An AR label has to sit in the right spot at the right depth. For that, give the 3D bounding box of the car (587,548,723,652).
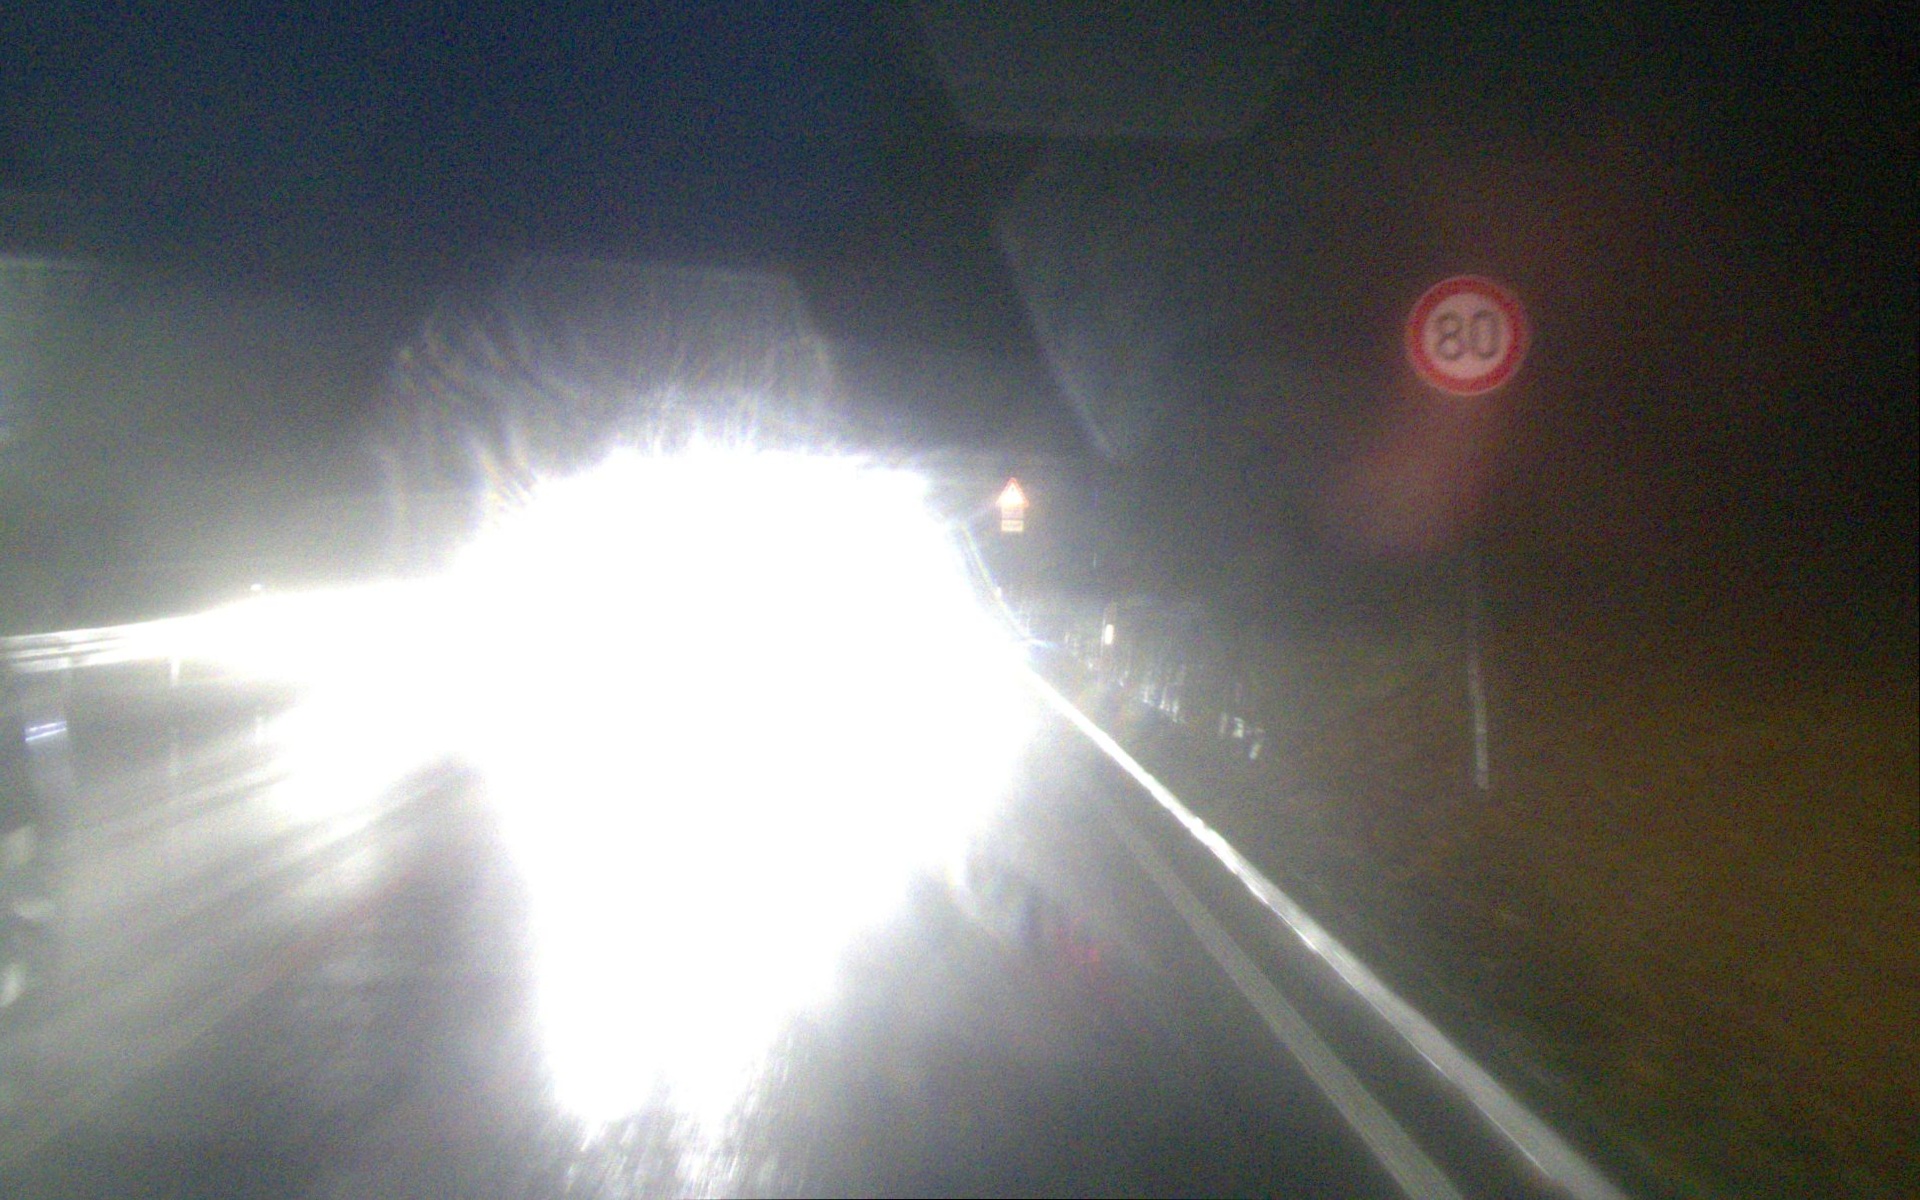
[{"bbox_3d":[-4.813,-0.024,54.742,1.830,1.549,4.442,1,1,-1],"label":"car"}]

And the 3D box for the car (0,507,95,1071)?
[{"bbox_3d":[-3.741,0.560,8.696,1.946,1.633,4.822,0,1,-1],"label":"car"}]

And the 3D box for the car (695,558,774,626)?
[{"bbox_3d":[-5.254,-0.203,80.502,1.715,1.549,4.000,1,1,-2],"label":"car"}]
